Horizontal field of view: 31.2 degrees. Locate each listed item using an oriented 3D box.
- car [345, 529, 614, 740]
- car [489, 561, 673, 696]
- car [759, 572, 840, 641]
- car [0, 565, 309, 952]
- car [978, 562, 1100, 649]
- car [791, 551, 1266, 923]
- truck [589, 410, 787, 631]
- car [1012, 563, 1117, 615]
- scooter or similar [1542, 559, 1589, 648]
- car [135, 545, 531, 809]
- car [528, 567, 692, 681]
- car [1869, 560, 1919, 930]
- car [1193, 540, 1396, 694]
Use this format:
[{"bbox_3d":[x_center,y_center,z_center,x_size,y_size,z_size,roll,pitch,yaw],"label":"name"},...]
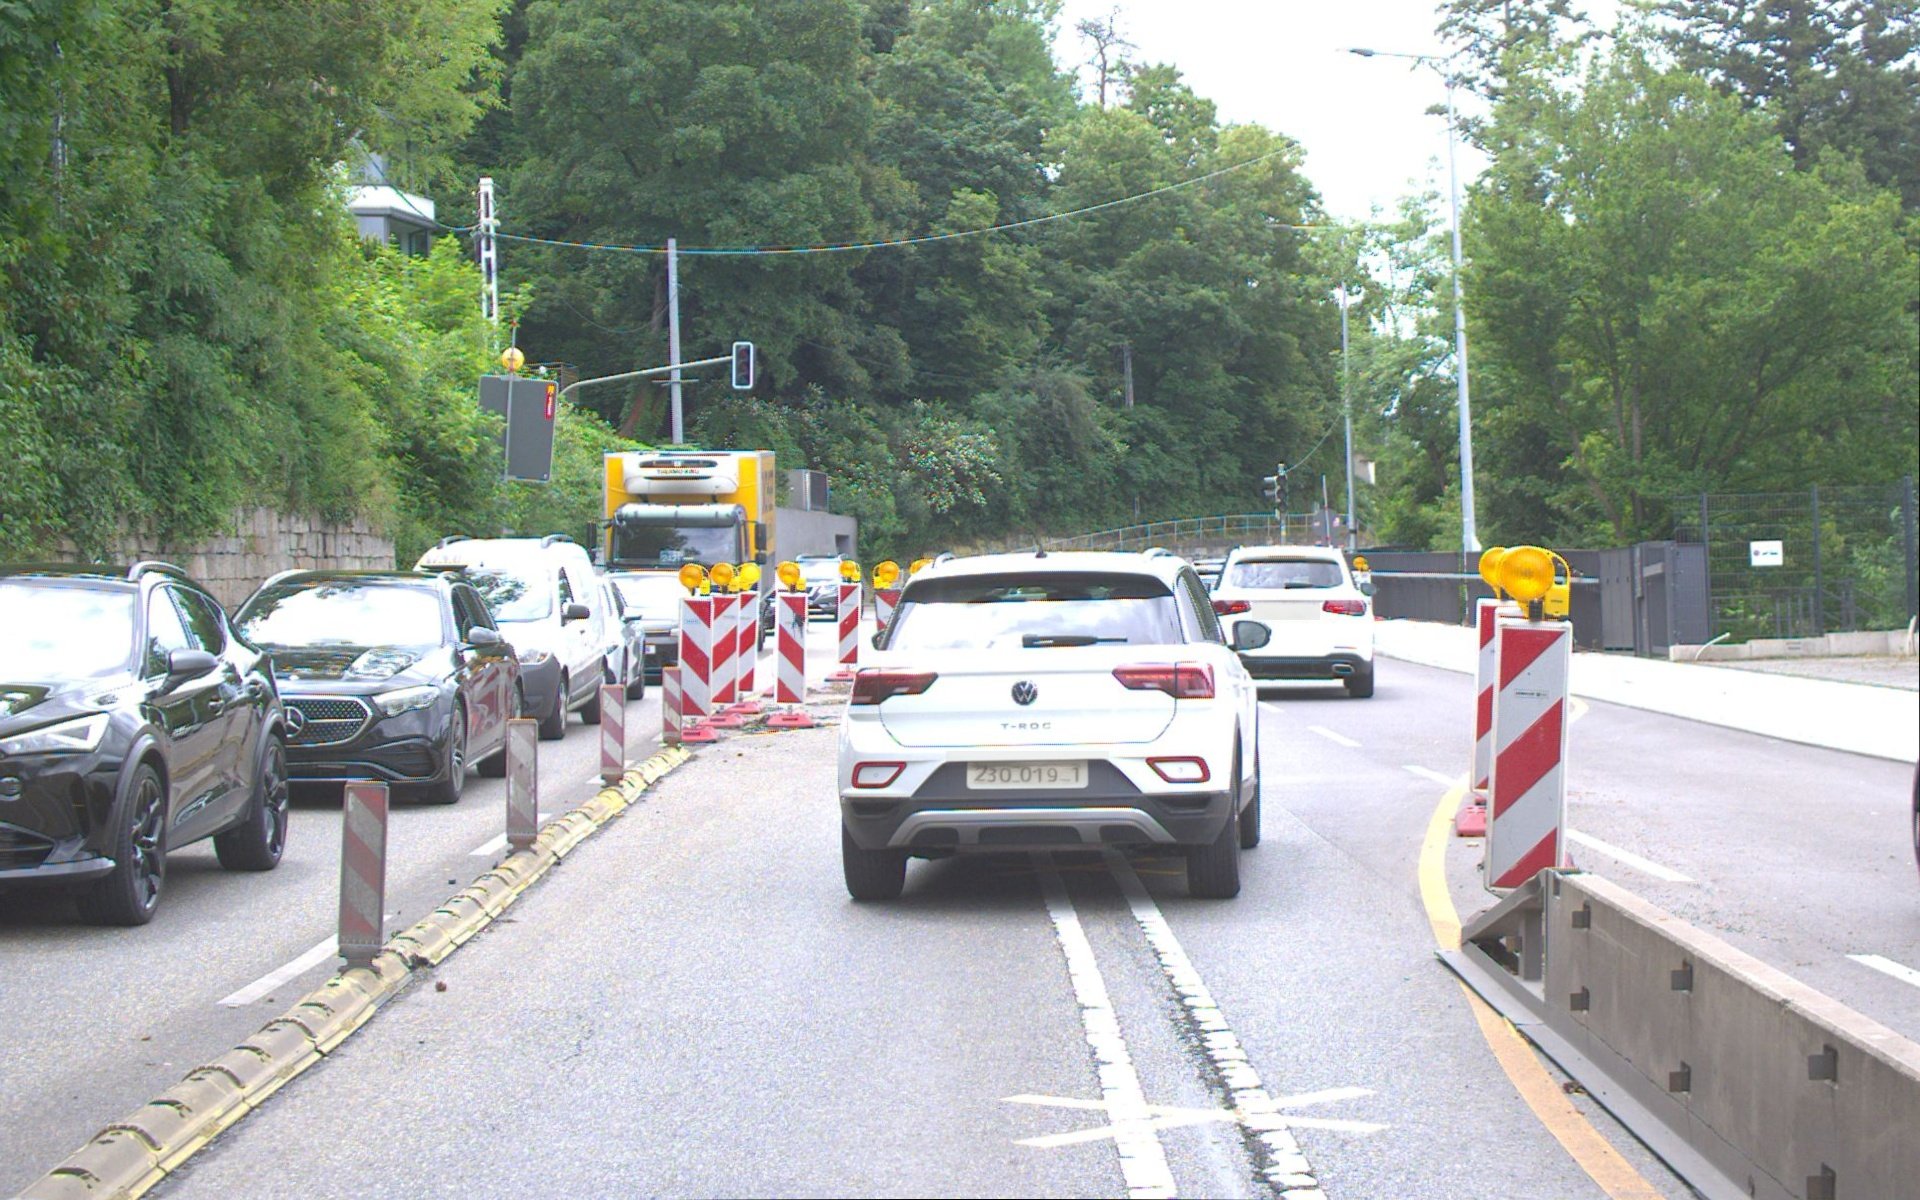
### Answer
[{"bbox_3d":[-4.315,0.277,31.485,1.803,1.784,4.342,1,0,1],"label":"car"},{"bbox_3d":[-4.465,0.310,40.989,1.791,1.502,4.312,1,0,-1],"label":"car"},{"bbox_3d":[-4.107,0.142,88.417,1.883,1.691,4.671,-1,1,0],"label":"car"},{"bbox_3d":[-4.253,0.589,15.425,1.828,1.480,4.318,1,0,0],"label":"car"},{"bbox_3d":[1.445,0.081,64.378,1.906,1.568,4.001,1,0,-4],"label":"car"},{"bbox_3d":[0.448,0.549,16.345,1.867,1.531,3.802,1,1,7],"label":"car"},{"bbox_3d":[-4.545,-1.299,58.780,2.731,3.498,7.350,-1,0,0],"label":"truck"},{"bbox_3d":[3.282,-0.352,106.923,1.909,1.568,3.995,1,0,24],"label":"car"},{"bbox_3d":[8.687,0.039,49.335,0.534,1.222,1.206,-2,1,6],"label":"scooter or similar"},{"bbox_3d":[-4.101,0.451,23.215,1.831,1.587,4.654,1,0,0],"label":"car"},{"bbox_3d":[-4.658,0.292,46.337,1.770,1.437,4.746,1,0,-1],"label":"car"},{"bbox_3d":[4.690,0.590,11.935,1.840,1.450,4.628,0,1,0],"label":"car"},{"bbox_3d":[3.613,0.160,37.749,1.994,1.581,4.000,1,0,2],"label":"car"}]
